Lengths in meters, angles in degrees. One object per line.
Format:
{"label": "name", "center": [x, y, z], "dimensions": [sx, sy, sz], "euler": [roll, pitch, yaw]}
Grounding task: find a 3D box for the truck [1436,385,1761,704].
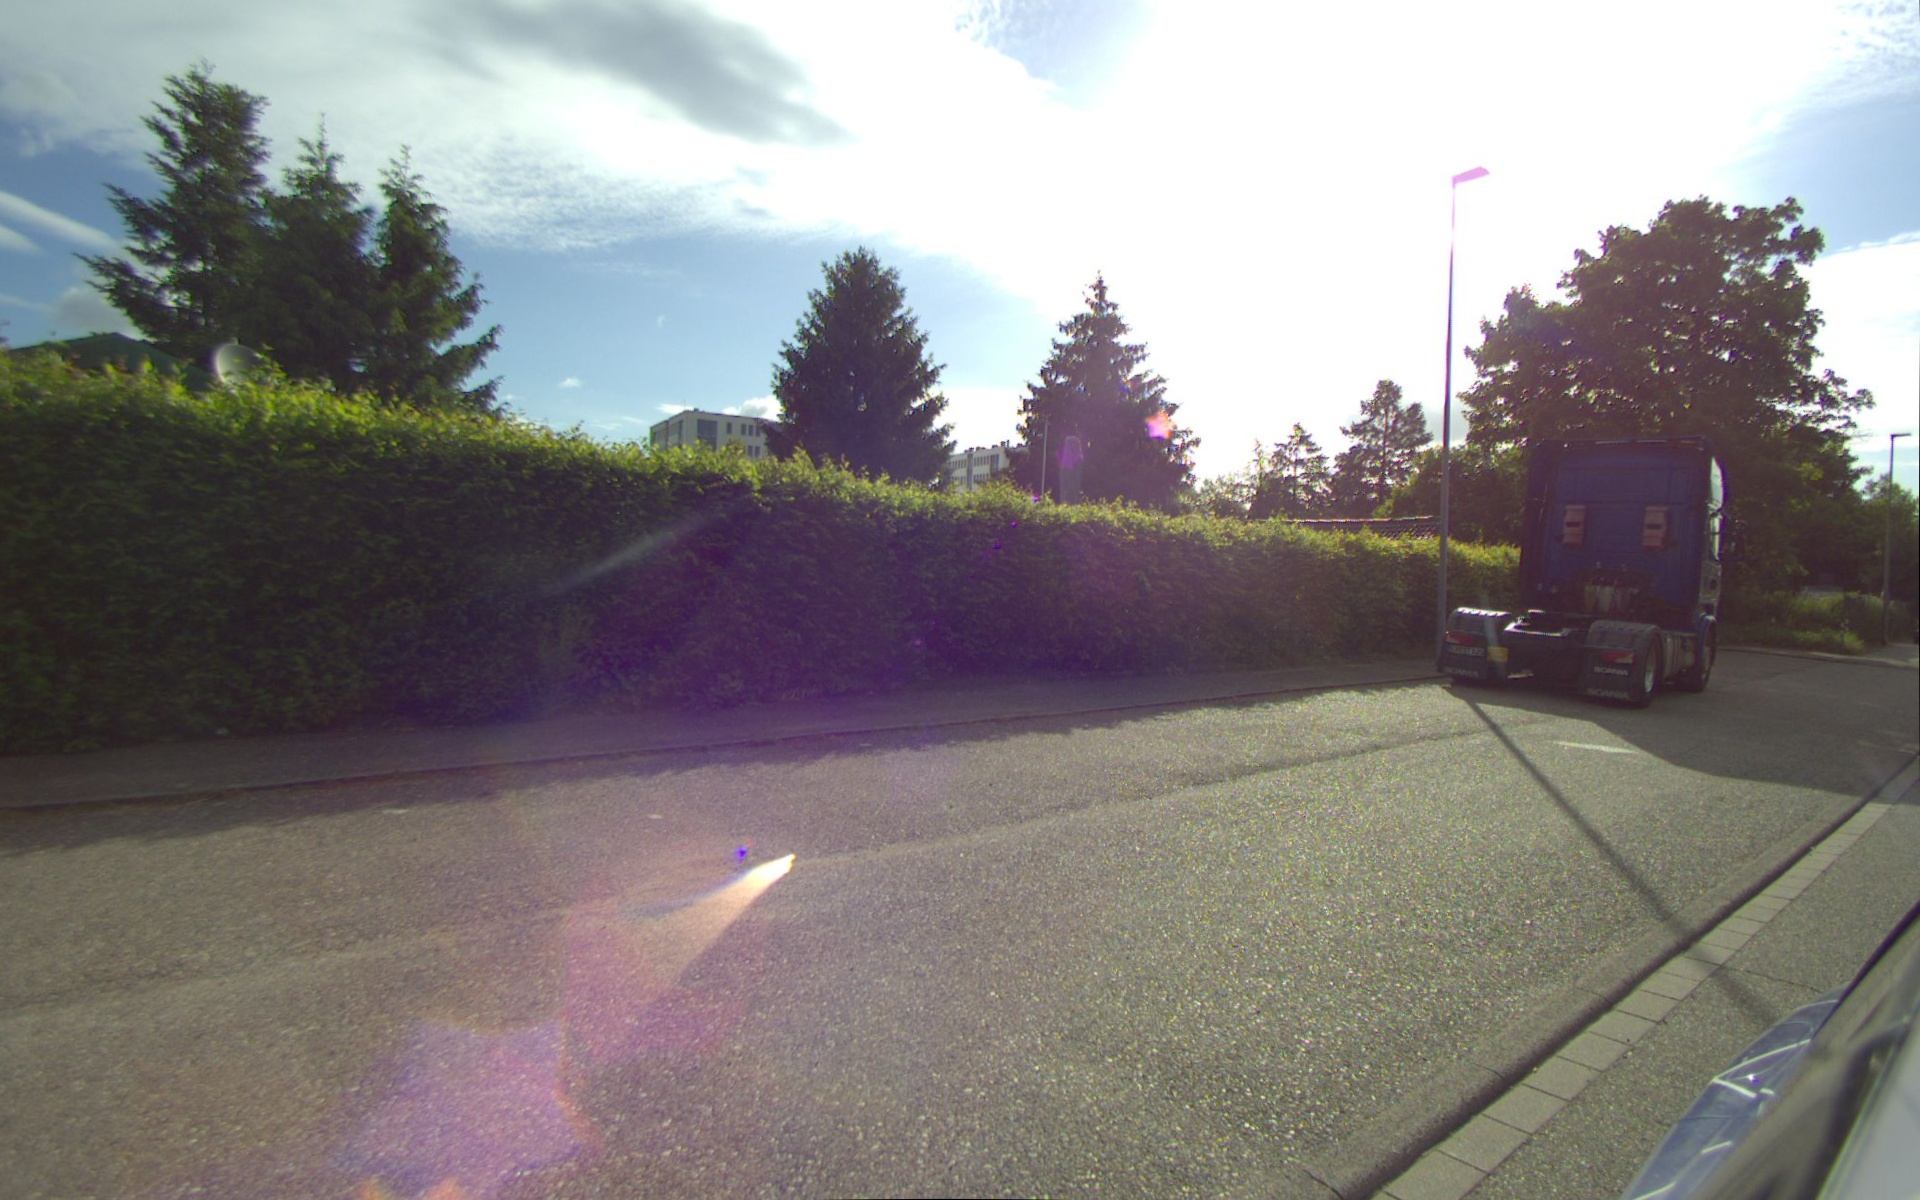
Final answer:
{"label": "truck", "center": [10.138, -0.769, 15.791], "dimensions": [6.178, 4.006, 2.599], "euler": [1, 4, -44]}
